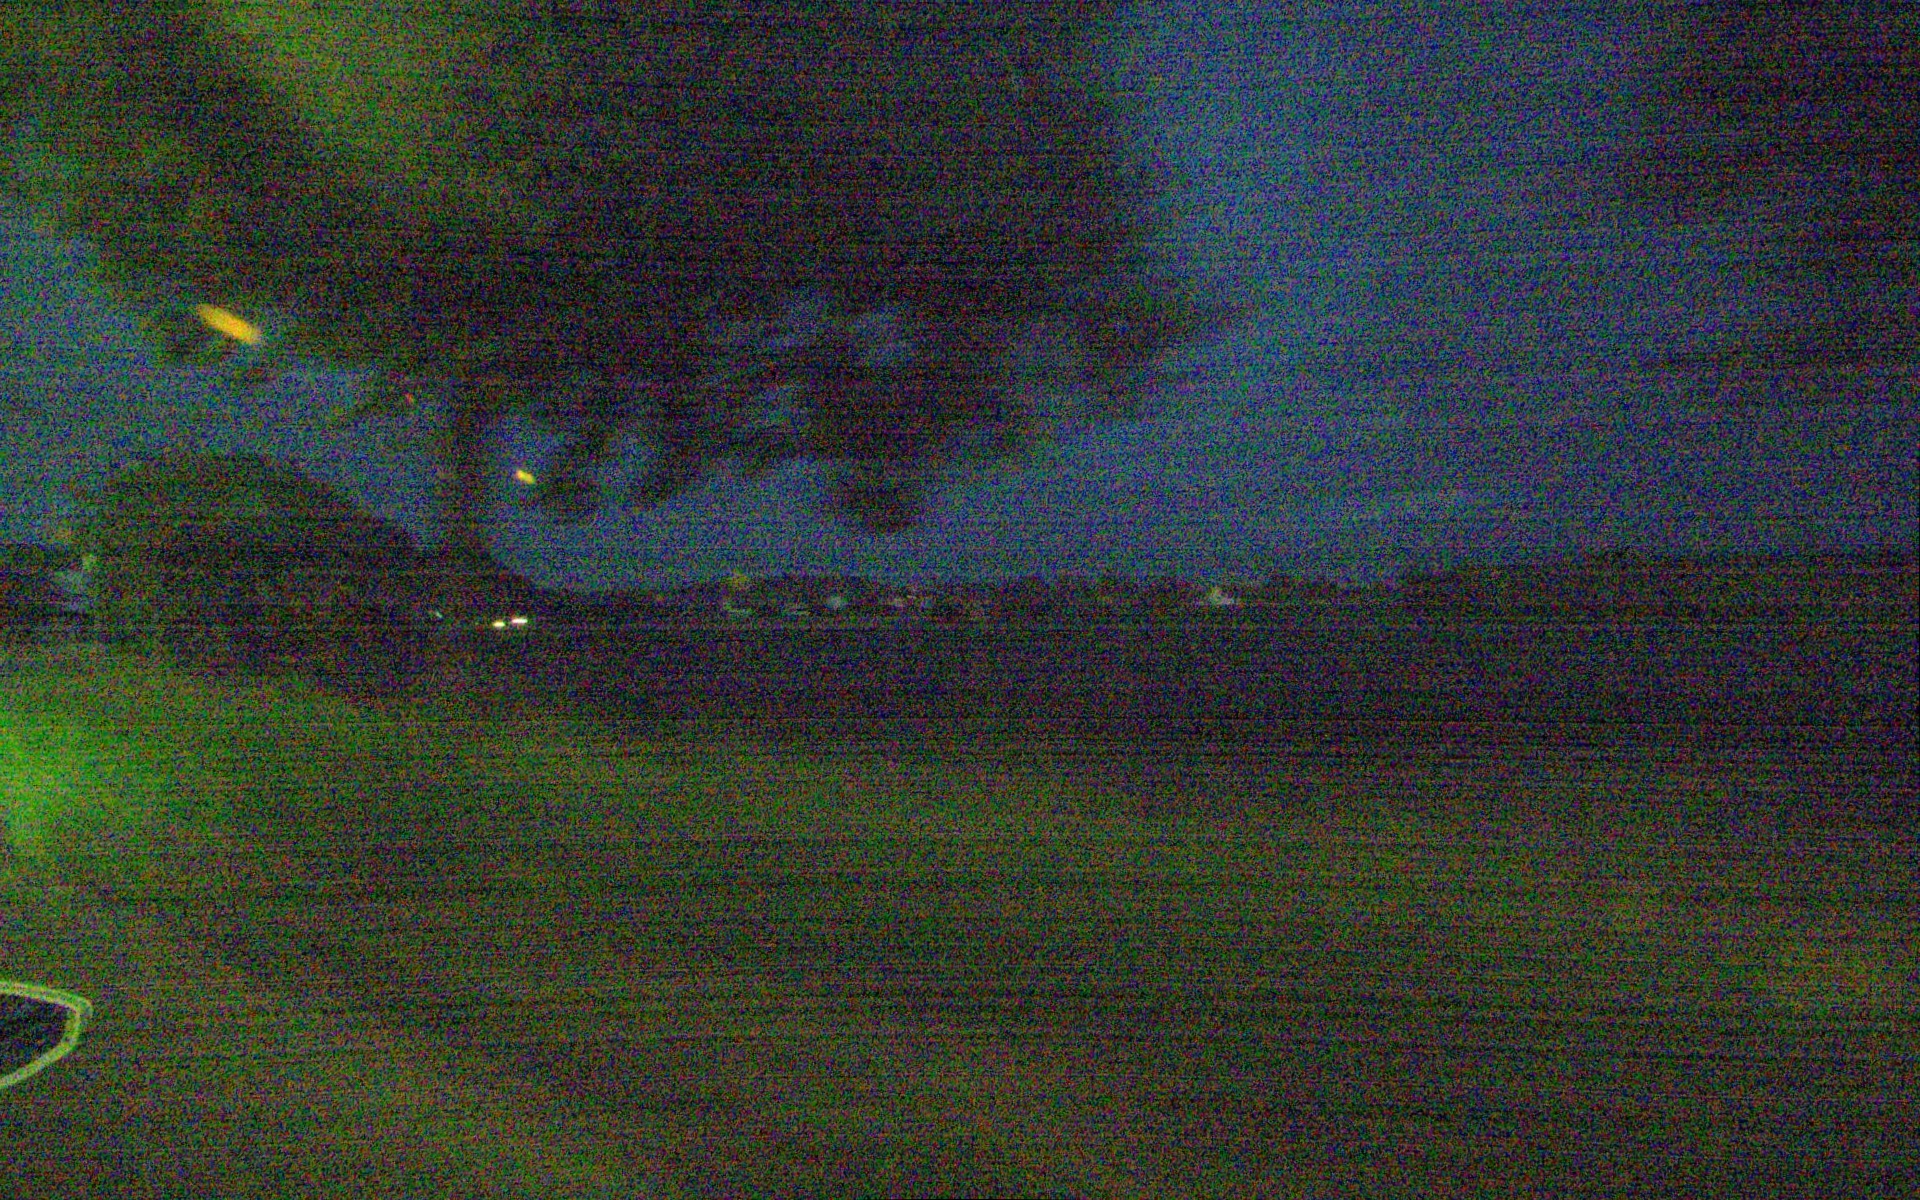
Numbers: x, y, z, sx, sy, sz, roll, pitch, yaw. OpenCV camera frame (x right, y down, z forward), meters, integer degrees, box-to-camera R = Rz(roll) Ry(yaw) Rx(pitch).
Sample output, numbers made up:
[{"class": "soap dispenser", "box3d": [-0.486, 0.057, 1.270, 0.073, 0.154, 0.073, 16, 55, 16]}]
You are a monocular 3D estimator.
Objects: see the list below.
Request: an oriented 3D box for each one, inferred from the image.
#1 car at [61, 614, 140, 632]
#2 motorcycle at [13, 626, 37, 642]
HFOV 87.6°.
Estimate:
[{"class": "car", "box3d": [-65.818, 1.753, 76.736, 4.295, 1.377, 1.636, 0, -1, -27]}, {"class": "motorcycle", "box3d": [-69.758, 2.539, 74.728, 0.975, 1.158, 1.837, 1, -2, -33]}]
